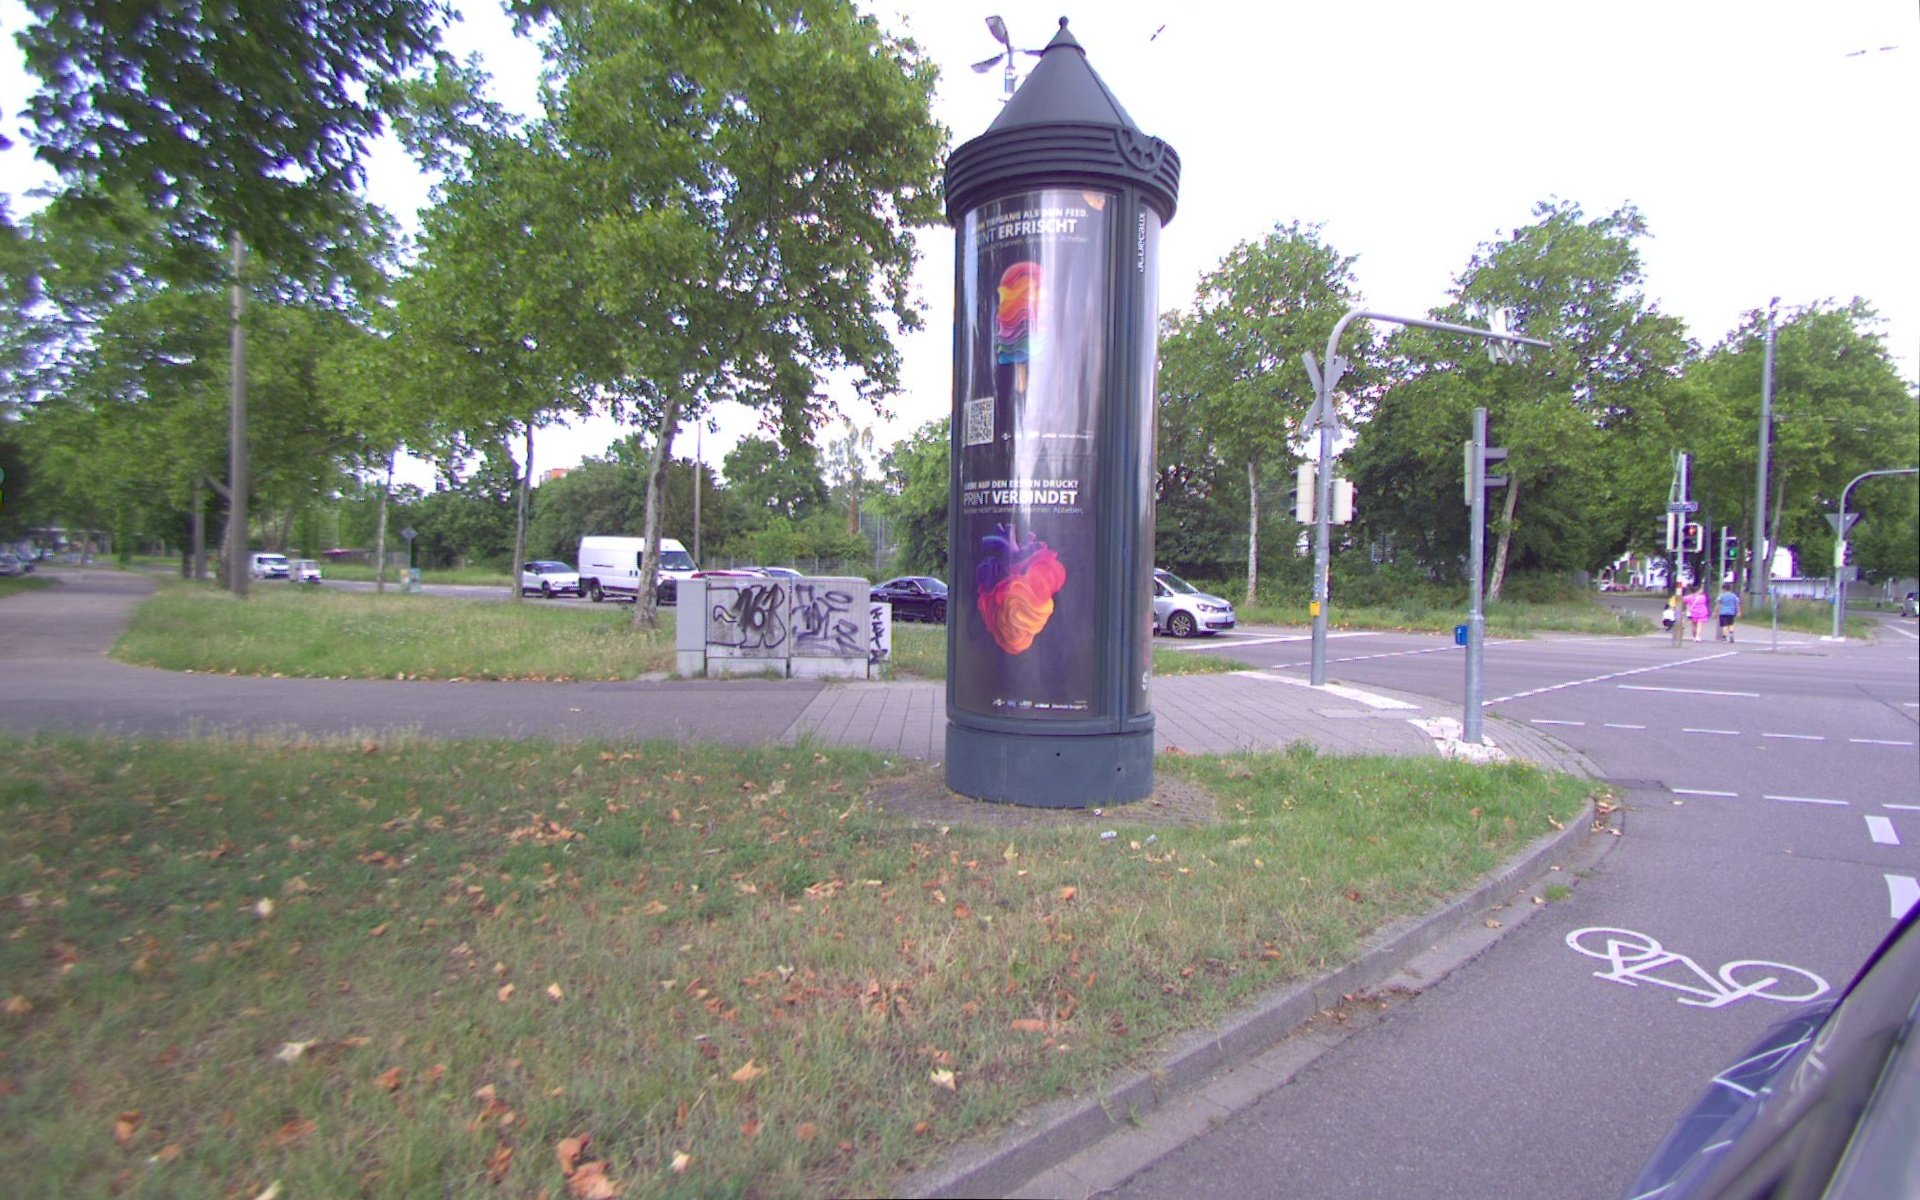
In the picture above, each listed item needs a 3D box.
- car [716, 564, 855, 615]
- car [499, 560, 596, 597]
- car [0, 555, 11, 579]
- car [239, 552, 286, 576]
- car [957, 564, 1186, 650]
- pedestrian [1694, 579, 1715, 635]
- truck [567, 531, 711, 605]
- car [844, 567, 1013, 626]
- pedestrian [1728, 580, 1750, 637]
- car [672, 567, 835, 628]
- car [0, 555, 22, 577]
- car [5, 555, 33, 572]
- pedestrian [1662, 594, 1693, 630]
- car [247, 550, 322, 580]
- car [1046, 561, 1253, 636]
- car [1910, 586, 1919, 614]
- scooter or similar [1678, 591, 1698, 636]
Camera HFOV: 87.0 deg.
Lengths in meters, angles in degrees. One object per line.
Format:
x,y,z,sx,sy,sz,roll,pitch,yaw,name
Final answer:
-5.812,-0.408,33.417,4.663,1.532,1.973,2,3,39,car
-18.202,-0.980,44.599,4.663,1.532,1.973,2,3,39,car
-57.778,-2.004,60.327,1.650,1.408,3.301,0,2,-42,car
-52.507,-2.734,76.125,3.983,1.727,1.971,2,2,41,car
2.353,0.062,22.076,4.665,1.630,1.972,2,3,39,car
20.562,0.193,27.944,0.417,1.527,0.387,2,1,37,pedestrian
-12.521,-1.265,39.202,6.479,2.628,2.185,2,2,40,truck
-0.972,-0.156,29.039,4.726,1.487,1.973,2,3,39,car
21.073,0.222,27.378,0.417,1.527,0.445,2,1,37,pedestrian
-5.854,-0.134,28.421,4.663,1.532,1.973,2,3,39,car
-63.541,-2.248,67.323,1.650,1.408,3.301,0,2,-42,car
-79.314,-3.058,85.359,1.650,1.408,3.301,0,2,-42,car
22.230,0.362,31.357,0.719,1.047,0.889,2,2,39,pedestrian
-36.808,-1.933,55.088,4.660,1.532,1.974,2,3,37,car
4.603,-0.117,24.982,4.663,1.630,1.973,2,3,39,car
58.733,-0.004,60.735,1.856,1.665,4.182,1,1,34,car
19.840,0.365,27.587,0.393,1.175,1.103,2,2,35,scooter or similar
